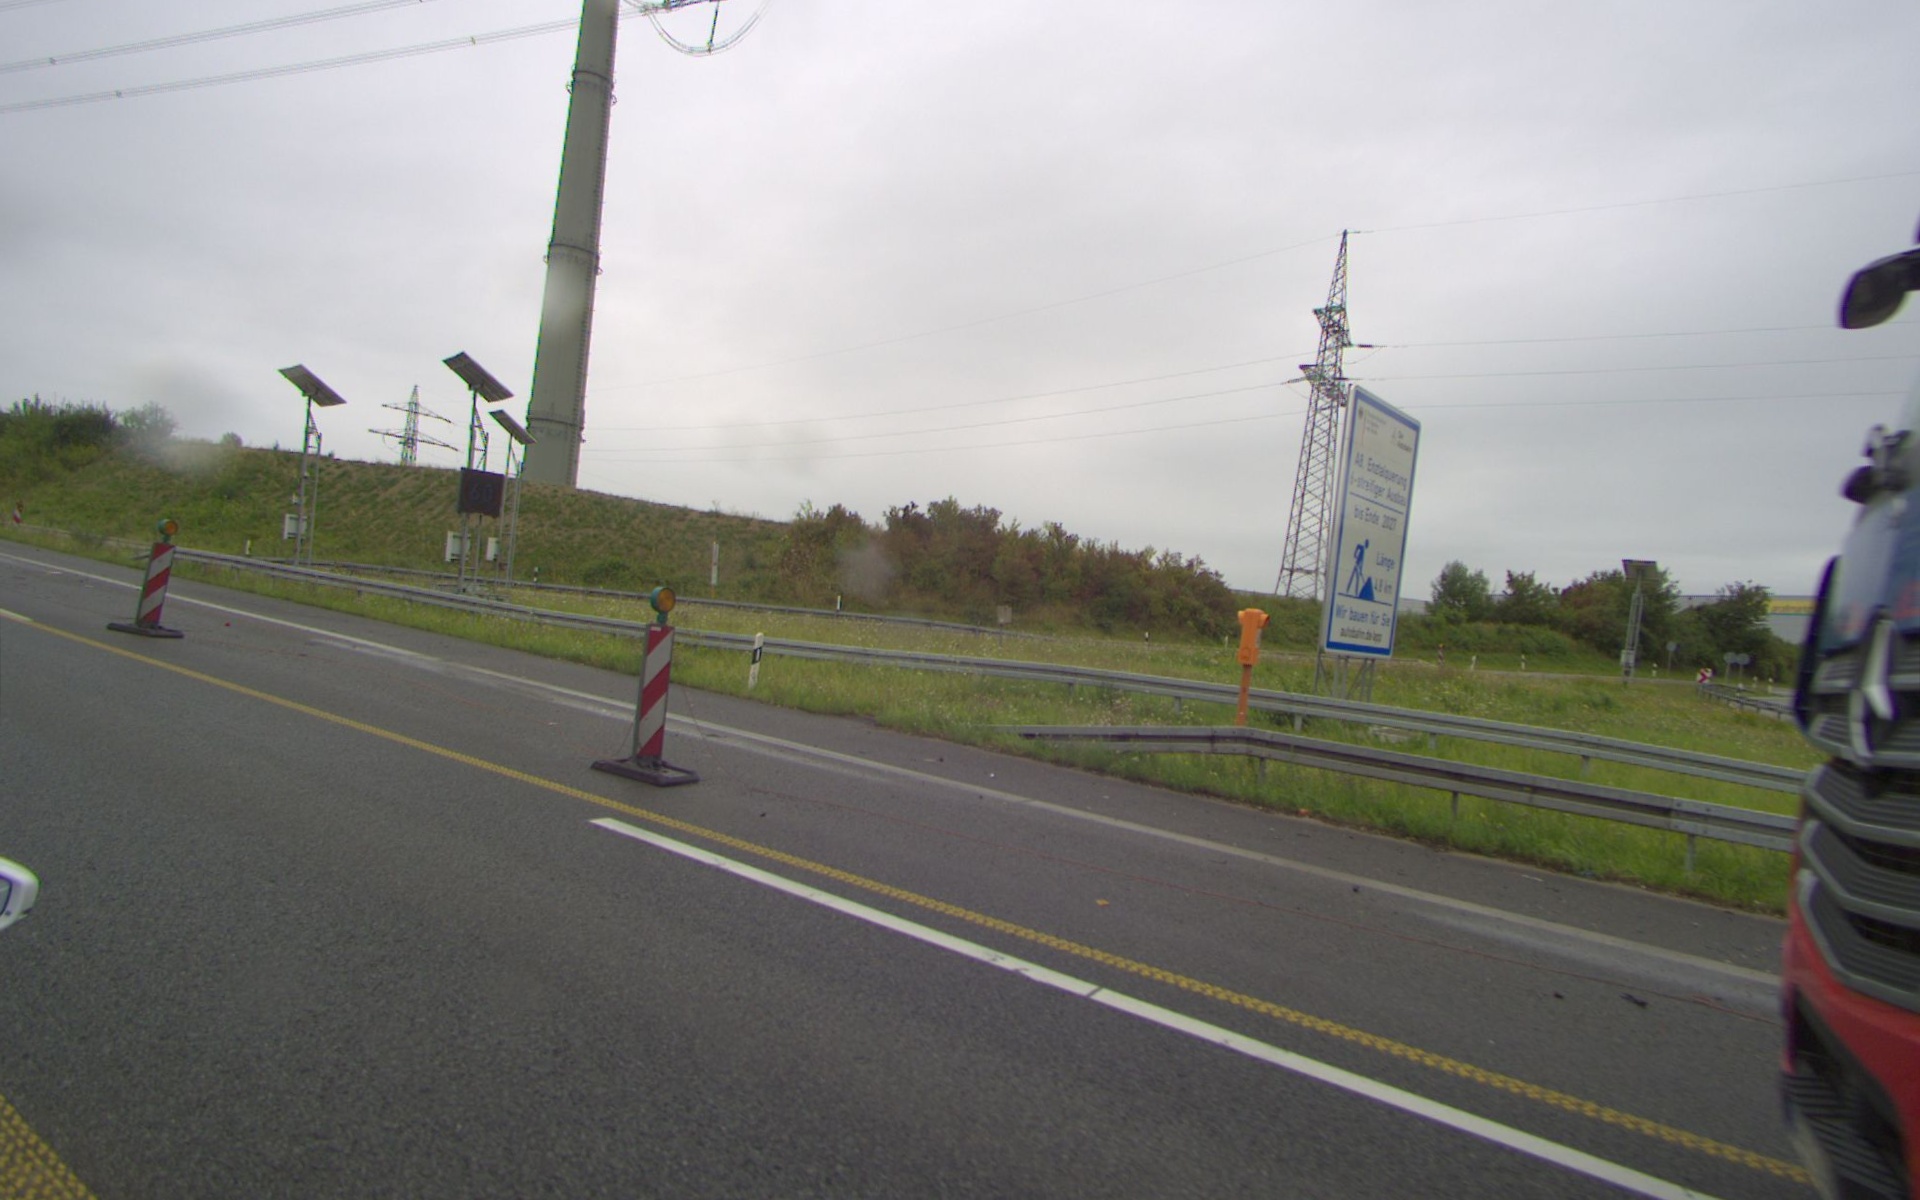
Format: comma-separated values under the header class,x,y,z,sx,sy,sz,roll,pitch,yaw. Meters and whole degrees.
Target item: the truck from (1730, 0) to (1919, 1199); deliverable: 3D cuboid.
class,x,y,z,sx,sy,sz,roll,pitch,yaw
truck,3.999,-0.048,1.529,3.935,3.992,2.551,6,-2,33
